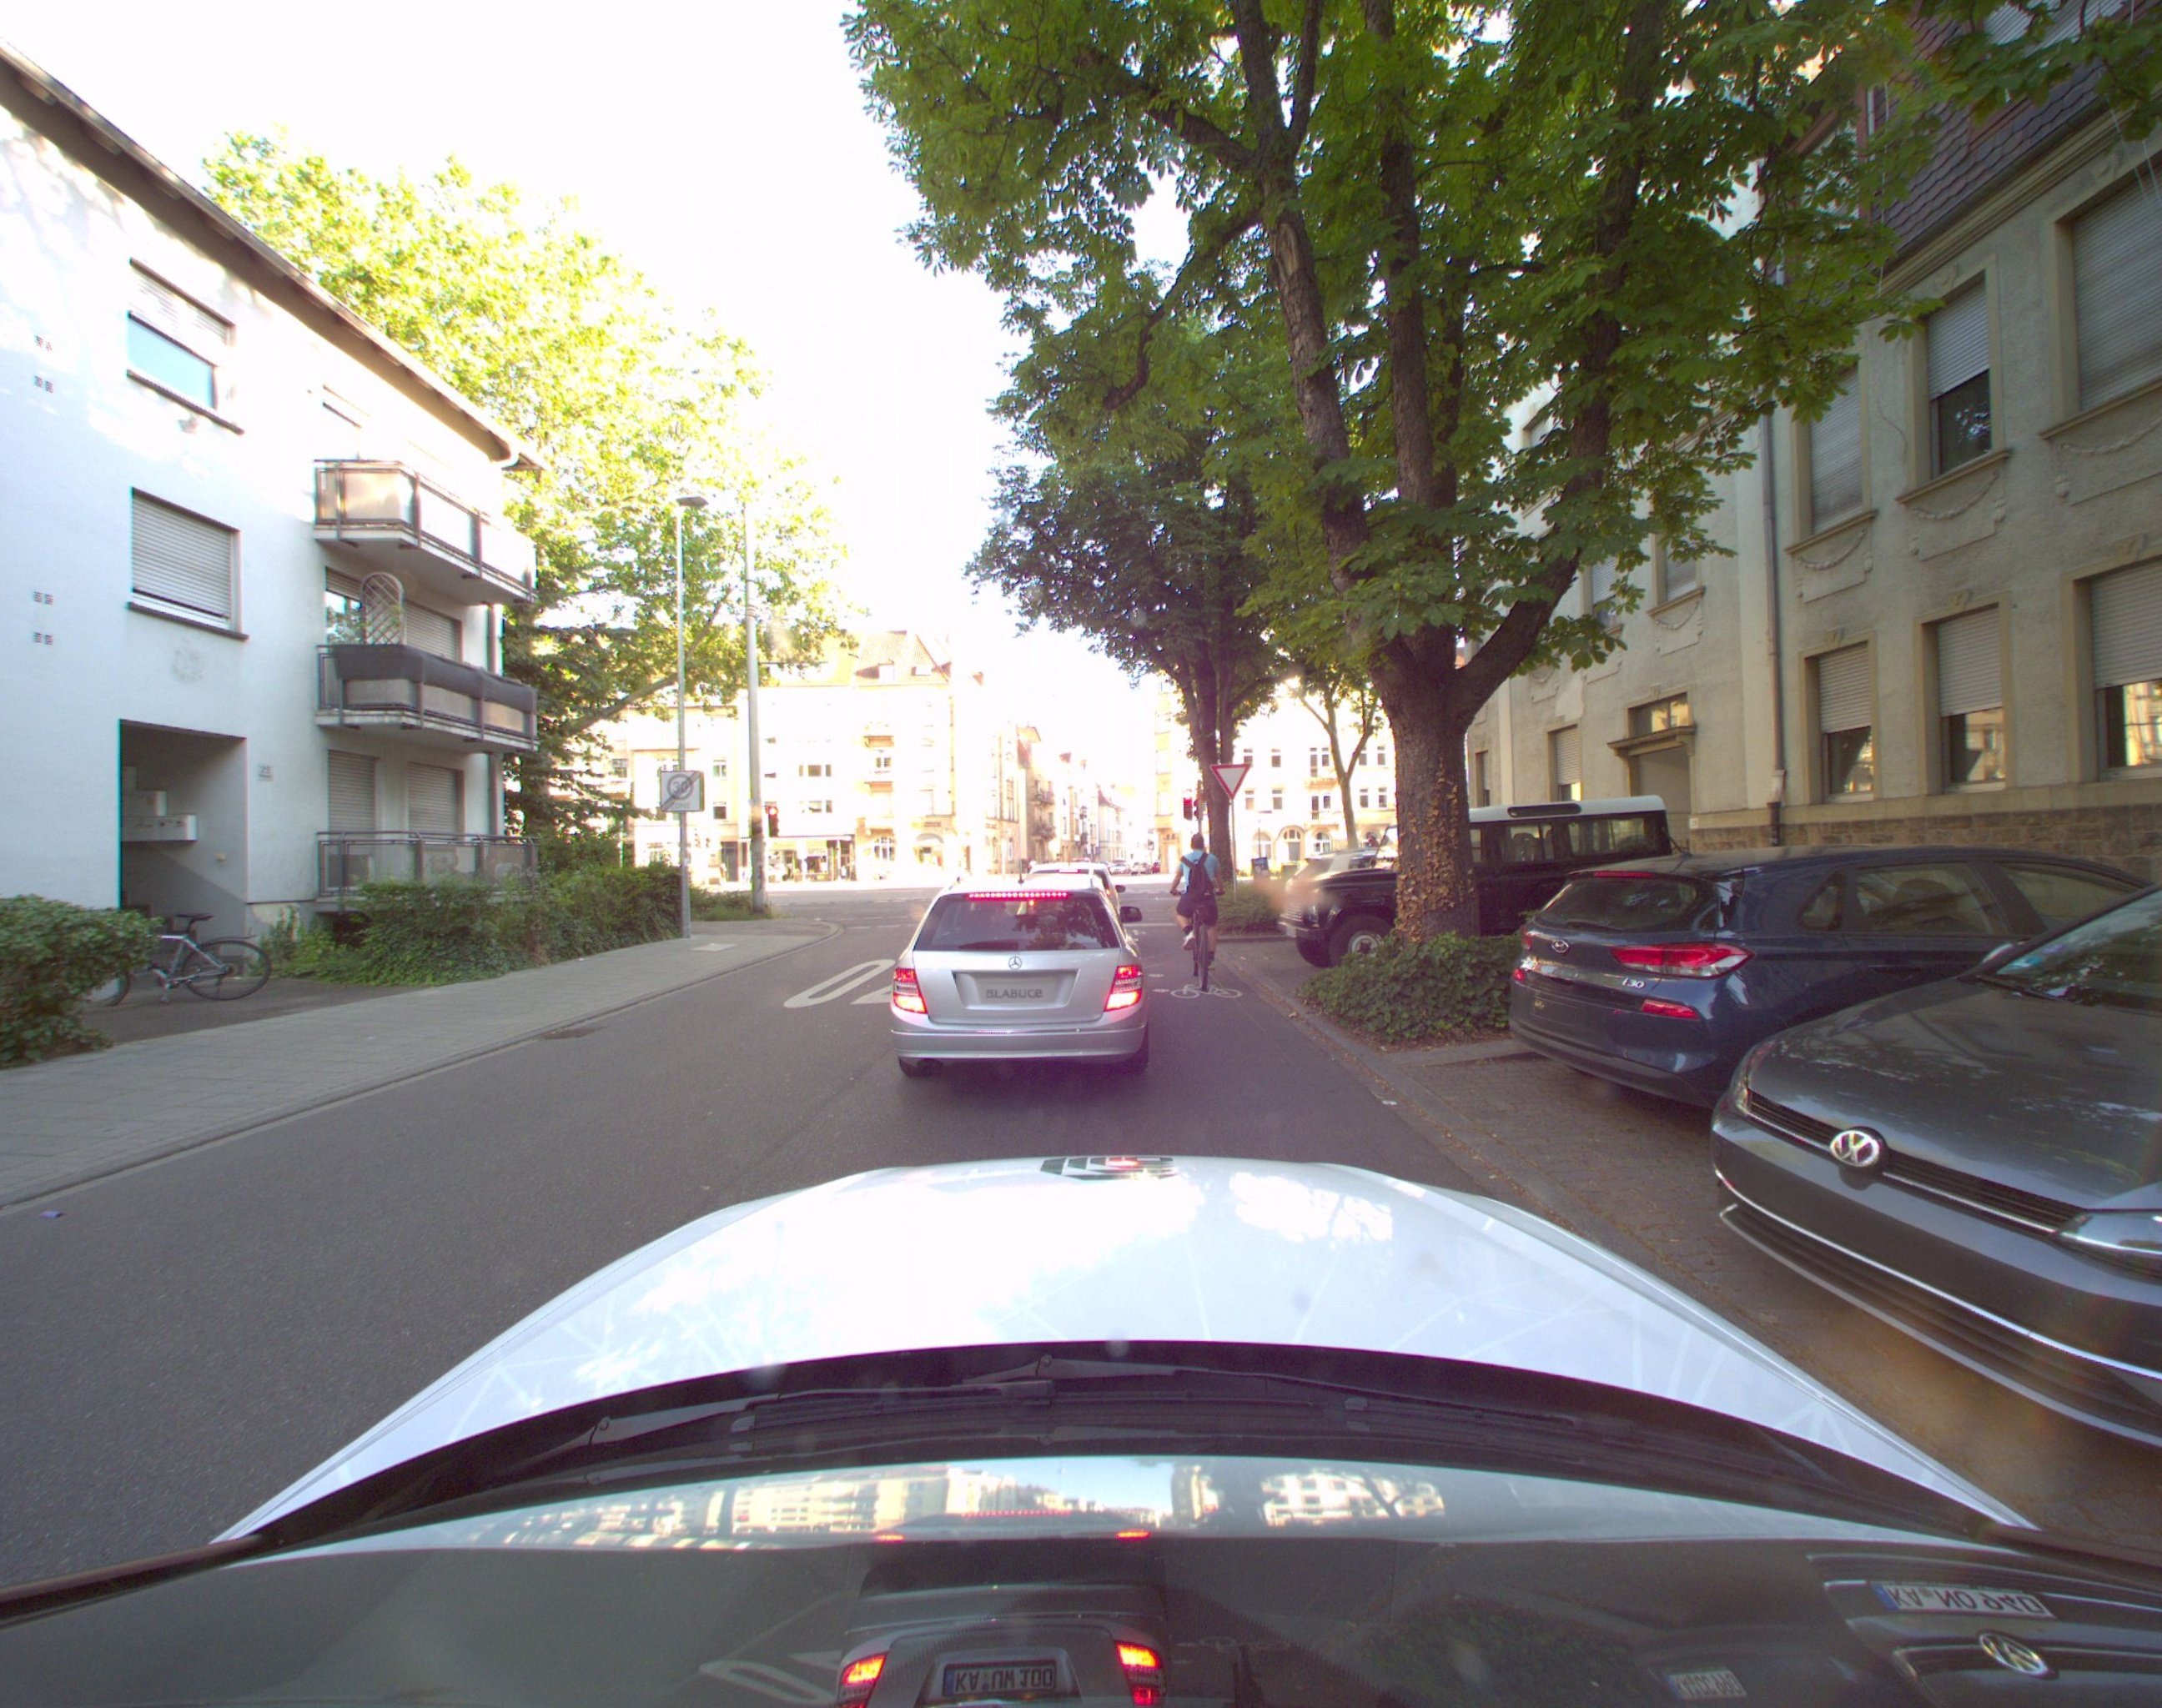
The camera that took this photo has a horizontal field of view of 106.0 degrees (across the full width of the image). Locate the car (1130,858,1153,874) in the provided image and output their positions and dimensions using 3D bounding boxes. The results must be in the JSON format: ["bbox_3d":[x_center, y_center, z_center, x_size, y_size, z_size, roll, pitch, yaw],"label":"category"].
[{"bbox_3d":[6.398,1.246,85.939,1.708,1.478,4.016,-3,0,14],"label":"car"}]

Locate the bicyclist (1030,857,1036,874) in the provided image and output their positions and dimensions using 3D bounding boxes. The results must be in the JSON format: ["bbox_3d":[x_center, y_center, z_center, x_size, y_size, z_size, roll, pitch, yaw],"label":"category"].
[{"bbox_3d":[-4.296,1.013,73.529,0.465,1.514,0.655,-1,0,-2],"label":"bicyclist"}]

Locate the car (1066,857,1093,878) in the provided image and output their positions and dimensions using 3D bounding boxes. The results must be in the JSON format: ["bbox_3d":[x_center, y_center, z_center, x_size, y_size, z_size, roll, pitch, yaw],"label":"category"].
[{"bbox_3d":[-0.098,1.311,79.936,1.926,1.958,4.161,-2,0,10],"label":"car"}]

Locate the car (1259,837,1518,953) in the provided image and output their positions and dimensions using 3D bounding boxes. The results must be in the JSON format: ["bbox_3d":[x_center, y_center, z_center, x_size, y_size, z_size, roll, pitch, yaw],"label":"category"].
[{"bbox_3d":[4.855,0.614,13.151,3.475,1.586,1.708,-3,0,-5],"label":"car"}]

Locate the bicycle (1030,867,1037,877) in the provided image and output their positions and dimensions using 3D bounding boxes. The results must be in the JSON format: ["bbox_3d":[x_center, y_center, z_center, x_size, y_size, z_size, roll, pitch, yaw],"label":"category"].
[{"bbox_3d":[-4.281,1.593,73.446,0.567,0.834,1.565,-1,0,-1],"label":"bicycle"}]

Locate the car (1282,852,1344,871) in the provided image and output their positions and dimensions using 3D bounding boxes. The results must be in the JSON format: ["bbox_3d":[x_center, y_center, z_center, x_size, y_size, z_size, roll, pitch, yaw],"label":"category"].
[{"bbox_3d":[14.218,0.465,49.994,3.352,1.069,1.380,-2,0,0],"label":"car"}]

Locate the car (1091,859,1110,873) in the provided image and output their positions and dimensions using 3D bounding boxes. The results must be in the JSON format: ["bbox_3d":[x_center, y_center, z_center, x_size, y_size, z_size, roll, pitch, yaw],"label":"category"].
[{"bbox_3d":[2.522,1.527,102.557,1.639,1.783,3.876,-1,-1,13],"label":"car"}]

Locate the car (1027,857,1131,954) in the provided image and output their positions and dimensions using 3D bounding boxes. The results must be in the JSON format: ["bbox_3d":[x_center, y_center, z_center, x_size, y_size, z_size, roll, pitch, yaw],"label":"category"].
[{"bbox_3d":[-0.018,0.762,13.829,1.528,1.391,3.599,-1,0,0],"label":"car"}]

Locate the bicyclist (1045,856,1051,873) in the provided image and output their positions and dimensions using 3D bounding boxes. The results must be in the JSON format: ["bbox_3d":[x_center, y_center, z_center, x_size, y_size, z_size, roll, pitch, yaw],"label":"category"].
[{"bbox_3d":[-2.989,0.981,73.563,0.465,1.521,0.693,-1,0,-2],"label":"bicyclist"}]

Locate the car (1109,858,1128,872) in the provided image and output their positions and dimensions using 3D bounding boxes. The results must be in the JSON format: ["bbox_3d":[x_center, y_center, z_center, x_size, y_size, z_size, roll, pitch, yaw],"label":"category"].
[{"bbox_3d":[4.705,1.333,100.911,1.675,1.722,4.014,-2,0,13],"label":"car"}]

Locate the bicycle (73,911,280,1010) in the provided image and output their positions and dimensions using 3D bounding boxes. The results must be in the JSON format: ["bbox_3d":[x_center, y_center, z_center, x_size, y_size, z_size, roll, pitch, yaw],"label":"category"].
[{"bbox_3d":[-10.007,1.155,9.086,1.469,0.975,0.402,2,-2,-38],"label":"bicycle"}]

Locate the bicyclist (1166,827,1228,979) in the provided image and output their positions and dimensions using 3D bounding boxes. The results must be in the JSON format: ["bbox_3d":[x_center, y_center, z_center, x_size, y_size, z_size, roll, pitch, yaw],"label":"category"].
[{"bbox_3d":[1.403,0.579,9.966,0.644,1.775,0.831,0,-1,1],"label":"bicyclist"}]

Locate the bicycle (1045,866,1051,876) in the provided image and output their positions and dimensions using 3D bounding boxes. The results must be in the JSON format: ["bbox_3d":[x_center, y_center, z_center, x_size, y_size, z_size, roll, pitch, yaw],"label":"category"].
[{"bbox_3d":[-2.978,1.555,73.512,0.567,0.834,1.565,-1,0,-1],"label":"bicycle"}]

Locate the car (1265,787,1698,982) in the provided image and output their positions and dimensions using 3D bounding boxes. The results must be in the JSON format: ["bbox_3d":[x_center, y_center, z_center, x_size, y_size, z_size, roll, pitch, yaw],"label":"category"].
[{"bbox_3d":[4.790,0.348,10.199,4.478,1.956,1.792,-3,0,-1],"label":"car"}]

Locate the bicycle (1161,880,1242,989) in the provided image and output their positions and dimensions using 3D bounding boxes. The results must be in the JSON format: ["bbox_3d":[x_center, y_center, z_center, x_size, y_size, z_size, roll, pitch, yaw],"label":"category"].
[{"bbox_3d":[1.424,0.919,9.971,0.739,1.118,2.014,0,0,2],"label":"bicycle"}]

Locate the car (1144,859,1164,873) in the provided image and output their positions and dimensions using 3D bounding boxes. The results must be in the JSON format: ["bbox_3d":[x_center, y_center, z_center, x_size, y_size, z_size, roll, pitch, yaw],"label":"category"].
[{"bbox_3d":[9.179,1.454,102.046,1.709,1.478,4.016,-6,-1,14],"label":"car"}]

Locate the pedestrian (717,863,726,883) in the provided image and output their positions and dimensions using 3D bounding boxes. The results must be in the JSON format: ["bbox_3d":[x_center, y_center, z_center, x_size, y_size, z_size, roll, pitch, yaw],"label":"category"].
[{"bbox_3d":[-28.237,1.509,64.008,0.566,1.511,0.499,-1,0,-17],"label":"pedestrian"}]

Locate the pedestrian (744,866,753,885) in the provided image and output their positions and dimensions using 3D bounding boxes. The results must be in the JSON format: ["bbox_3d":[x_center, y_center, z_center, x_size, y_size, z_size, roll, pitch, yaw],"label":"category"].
[{"bbox_3d":[-26.681,1.706,65.374,0.507,1.511,0.536,-1,0,-3],"label":"pedestrian"}]

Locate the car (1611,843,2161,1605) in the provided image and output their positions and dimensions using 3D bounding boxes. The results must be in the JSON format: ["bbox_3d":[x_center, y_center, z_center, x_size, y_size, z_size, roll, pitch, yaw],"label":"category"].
[{"bbox_3d":[4.086,0.660,2.339,4.037,1.422,1.627,-3,-1,-2],"label":"car"}]

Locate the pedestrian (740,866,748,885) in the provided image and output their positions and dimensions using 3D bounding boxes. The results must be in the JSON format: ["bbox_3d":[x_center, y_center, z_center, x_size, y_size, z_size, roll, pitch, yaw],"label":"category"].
[{"bbox_3d":[-26.685,1.719,64.458,0.474,1.511,0.428,-1,0,-18],"label":"pedestrian"}]

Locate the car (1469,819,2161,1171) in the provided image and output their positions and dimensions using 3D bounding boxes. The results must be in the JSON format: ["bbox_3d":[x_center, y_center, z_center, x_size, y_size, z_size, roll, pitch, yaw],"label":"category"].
[{"bbox_3d":[4.434,0.612,4.513,3.739,1.422,1.627,-3,-1,-2],"label":"car"}]

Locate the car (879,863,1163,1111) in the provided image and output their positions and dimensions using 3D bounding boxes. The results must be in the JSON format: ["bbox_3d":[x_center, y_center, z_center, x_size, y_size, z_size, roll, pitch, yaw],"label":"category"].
[{"bbox_3d":[-0.375,0.809,6.609,1.685,1.429,3.491,0,0,-1],"label":"car"}]

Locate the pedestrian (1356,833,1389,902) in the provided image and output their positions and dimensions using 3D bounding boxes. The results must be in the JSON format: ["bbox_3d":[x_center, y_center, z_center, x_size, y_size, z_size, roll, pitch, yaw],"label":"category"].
[{"bbox_3d":[7.926,0.369,22.138,0.630,1.845,0.574,-1,0,-2],"label":"pedestrian"}]
